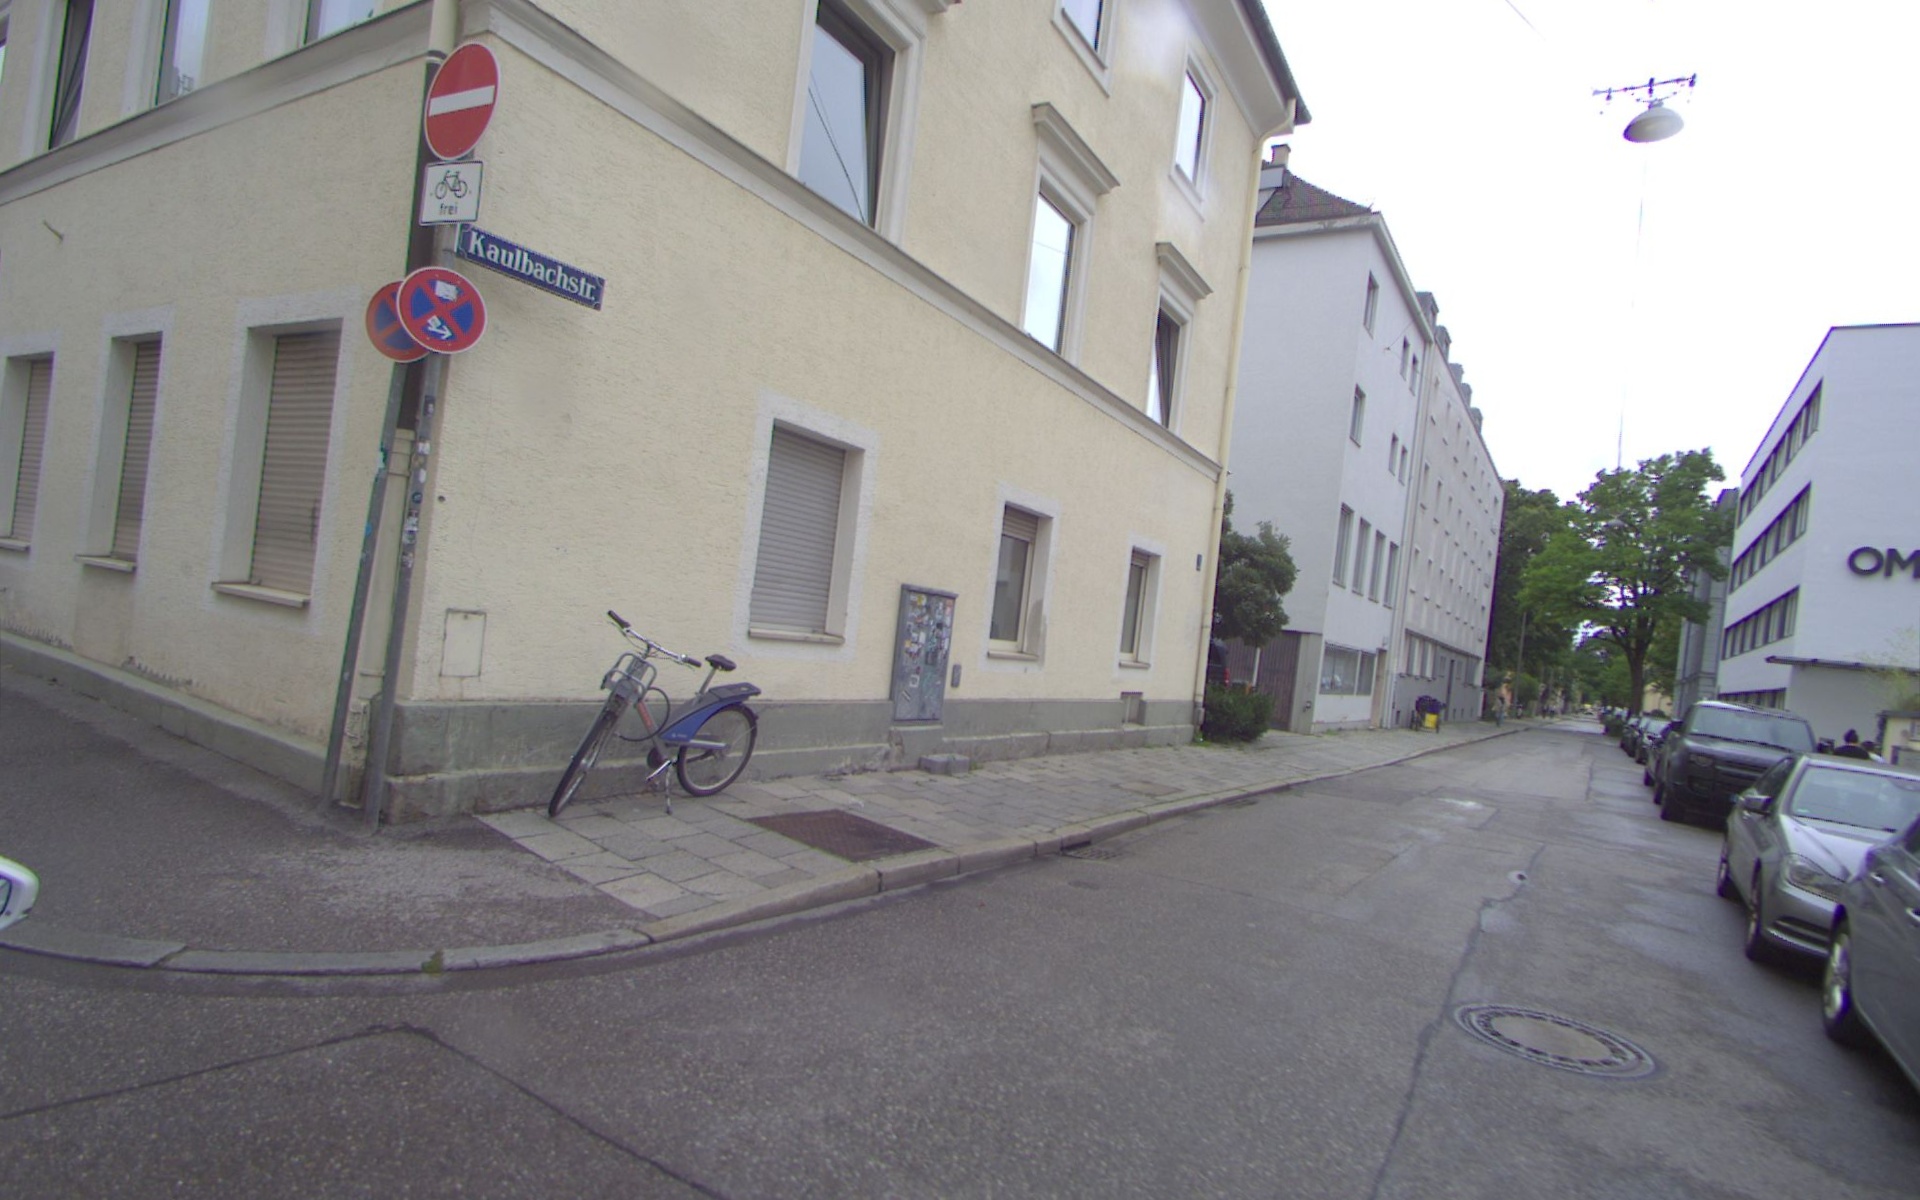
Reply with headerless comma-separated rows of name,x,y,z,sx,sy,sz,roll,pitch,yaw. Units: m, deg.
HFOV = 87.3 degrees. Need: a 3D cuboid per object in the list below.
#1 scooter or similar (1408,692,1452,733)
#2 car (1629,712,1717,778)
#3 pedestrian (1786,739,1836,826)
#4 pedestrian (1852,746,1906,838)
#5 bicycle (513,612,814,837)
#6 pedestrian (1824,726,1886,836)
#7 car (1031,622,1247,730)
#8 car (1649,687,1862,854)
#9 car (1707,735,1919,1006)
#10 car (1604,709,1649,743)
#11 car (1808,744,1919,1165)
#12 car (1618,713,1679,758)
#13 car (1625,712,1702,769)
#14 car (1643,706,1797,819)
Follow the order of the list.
scooter or similar,15.706,3.737,33.612,1.114,1.176,1.110,7,-1,31
car,23.638,4.770,33.494,2.058,1.649,4.710,9,-1,35
pedestrian,14.807,3.159,17.509,0.483,1.385,0.516,7,1,35
pedestrian,15.547,3.240,17.032,0.483,1.439,0.516,7,1,35
bicycle,-1.795,0.748,6.382,0.576,1.158,1.759,10,1,32
pedestrian,14.860,2.987,16.716,0.550,1.705,0.516,7,1,35
car,3.599,1.523,20.579,3.794,1.704,1.889,7,-1,-10
car,12.264,2.555,15.856,2.058,1.867,4.710,9,-1,35
car,6.905,1.892,7.500,1.736,1.404,4.192,9,-1,34
car,41.393,7.815,62.481,2.058,1.649,4.710,9,-1,35
car,4.453,1.425,3.437,1.736,1.457,4.021,9,-1,34
car,32.432,6.353,47.458,2.058,1.649,4.710,9,-1,35
car,26.605,5.296,38.138,2.058,1.649,4.710,9,-1,35
car,15.339,3.224,20.562,2.058,1.649,4.710,9,-1,35
